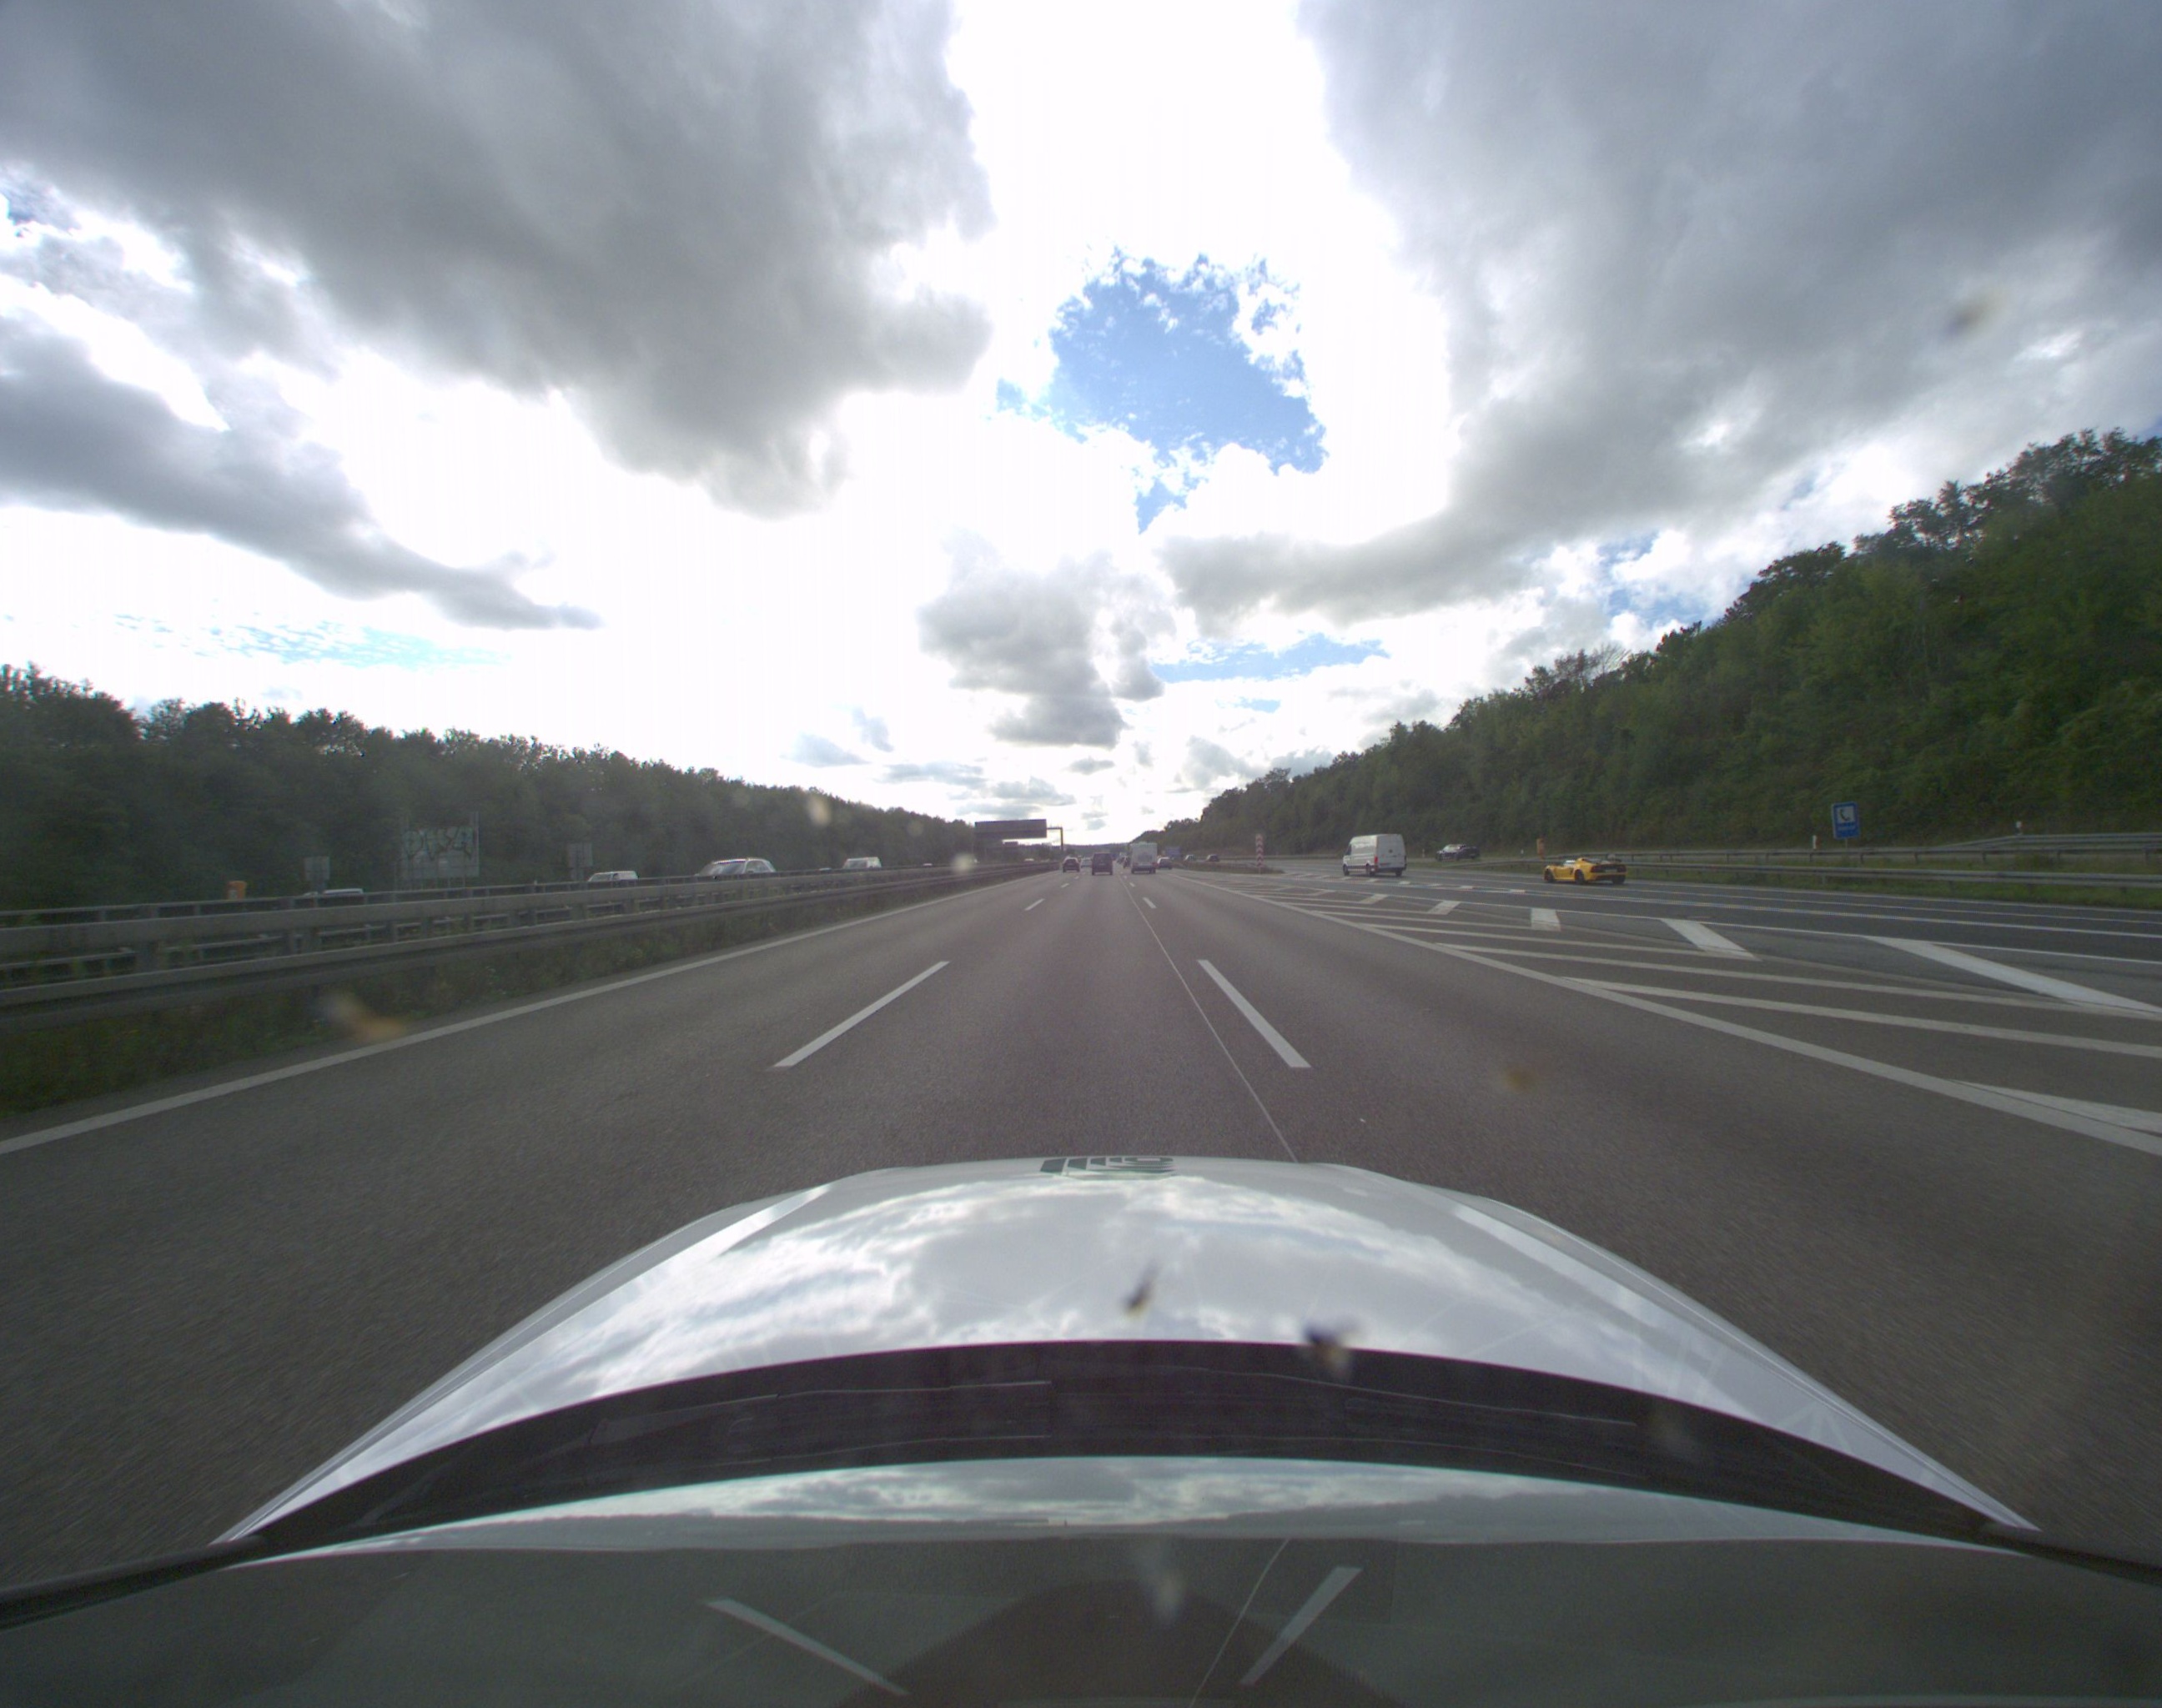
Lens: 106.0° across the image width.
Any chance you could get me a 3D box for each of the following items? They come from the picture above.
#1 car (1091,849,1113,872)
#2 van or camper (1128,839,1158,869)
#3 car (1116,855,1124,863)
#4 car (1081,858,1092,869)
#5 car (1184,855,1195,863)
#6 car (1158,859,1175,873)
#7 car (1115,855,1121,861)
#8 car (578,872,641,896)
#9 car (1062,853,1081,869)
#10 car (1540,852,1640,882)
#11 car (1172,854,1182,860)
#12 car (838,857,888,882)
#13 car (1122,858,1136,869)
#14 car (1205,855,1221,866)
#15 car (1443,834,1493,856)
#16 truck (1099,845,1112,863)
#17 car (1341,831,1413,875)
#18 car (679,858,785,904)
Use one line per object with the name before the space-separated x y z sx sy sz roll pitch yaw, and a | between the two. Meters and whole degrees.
car | 1.830 0.557 72.515 1.848 1.910 4.261 -1 0 1
van or camper | 5.793 0.016 76.970 2.460 2.722 7.663 -1 0 1
car | 9.170 1.144 191.464 1.906 1.919 4.031 -1 0 1
car | 0.896 1.466 125.563 1.691 1.611 4.114 -2 0 1
car | 21.579 0.991 161.944 1.535 1.484 3.943 -4 0 1
car | 10.525 1.442 100.281 1.691 1.611 3.896 -2 0 1
car | 11.070 1.321 244.863 1.746 1.695 4.191 -1 -1 1
car | -35.915 2.266 62.183 1.764 1.577 5.013 -2 0 1
car | -1.038 0.768 91.439 1.866 1.698 4.073 -2 -1 1
car | 21.671 0.525 34.884 1.706 1.182 4.169 -1 0 1
car | 23.275 0.756 197.931 1.837 1.484 4.525 -4 0 0
car | -15.148 1.041 56.858 1.803 1.636 5.012 -1 0 3
car | 6.665 1.306 113.328 1.691 1.564 4.114 -2 0 1
car | 20.876 1.008 128.798 1.836 1.484 4.527 -4 0 1
car | 31.721 -0.706 66.952 1.837 1.602 4.764 -4 0 1
truck | 6.191 -0.075 205.851 3.250 4.375 11.031 -1 0 2
car | 18.673 -0.046 51.839 2.063 2.554 6.742 -2 0 0
car | -12.235 0.907 28.873 1.728 1.480 4.204 -1 0 3
